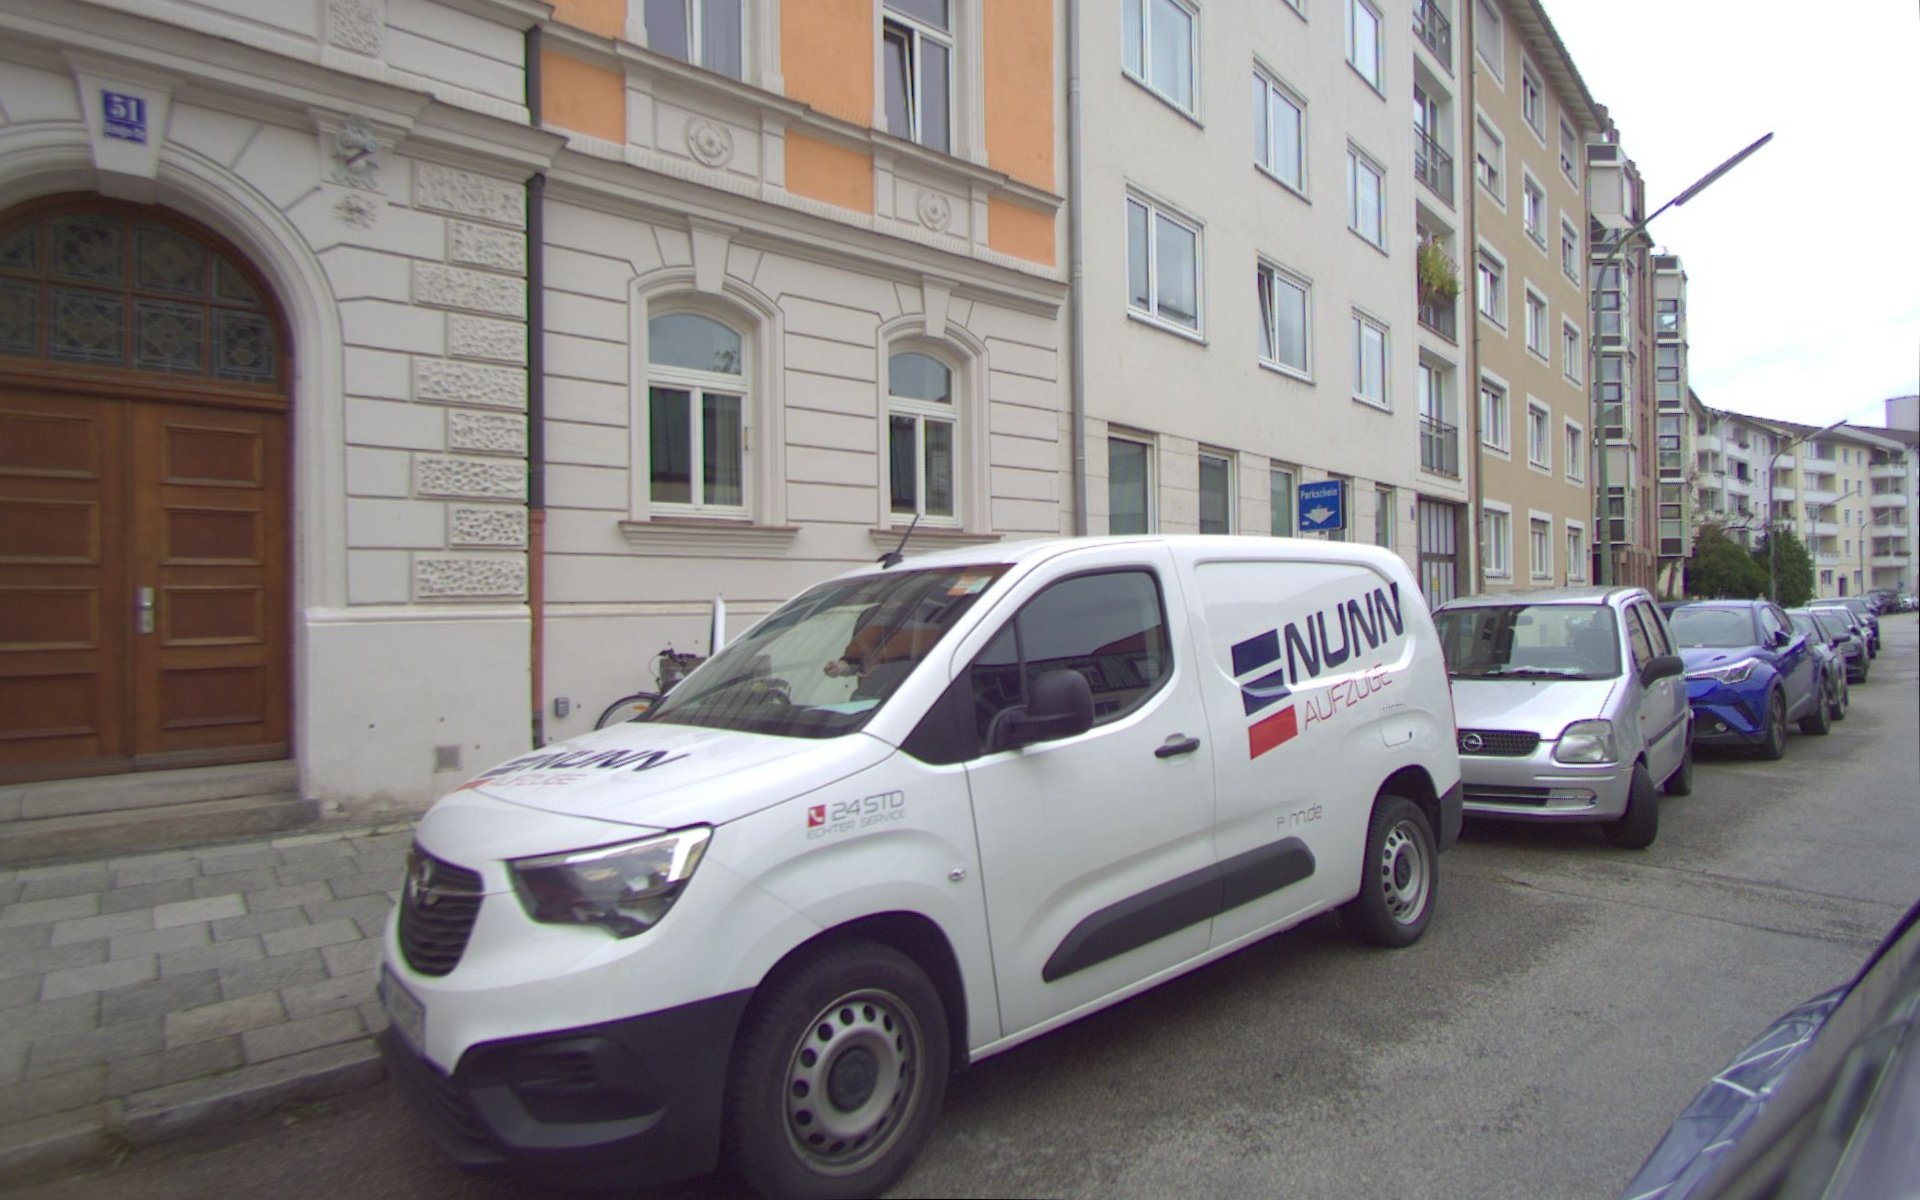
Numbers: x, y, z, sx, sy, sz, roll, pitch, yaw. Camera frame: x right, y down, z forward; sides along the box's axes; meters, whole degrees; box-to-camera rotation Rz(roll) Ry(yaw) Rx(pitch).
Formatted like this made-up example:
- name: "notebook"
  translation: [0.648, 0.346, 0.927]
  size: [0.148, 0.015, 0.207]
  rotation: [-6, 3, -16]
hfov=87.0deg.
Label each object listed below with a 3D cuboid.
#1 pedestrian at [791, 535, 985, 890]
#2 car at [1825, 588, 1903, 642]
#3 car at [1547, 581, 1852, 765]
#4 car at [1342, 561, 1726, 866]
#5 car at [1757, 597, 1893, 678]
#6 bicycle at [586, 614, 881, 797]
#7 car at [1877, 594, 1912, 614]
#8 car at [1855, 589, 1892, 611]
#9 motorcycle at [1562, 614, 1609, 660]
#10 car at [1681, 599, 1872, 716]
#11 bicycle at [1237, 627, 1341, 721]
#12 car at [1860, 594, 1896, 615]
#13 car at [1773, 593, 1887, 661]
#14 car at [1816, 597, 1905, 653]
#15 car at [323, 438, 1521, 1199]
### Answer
- name: "pedestrian"
  translation: [-0.393, 0.535, 5.349]
  size: [0.635, 1.683, 0.862]
  rotation: [0, -1, -40]
- name: "car"
  translation: [28.440, 0.447, 31.887]
  size: [1.735, 1.599, 3.776]
  rotation: [-1, 0, 41]
- name: "car"
  translation: [8.068, 0.667, 10.902]
  size: [4.128, 1.608, 1.743]
  rotation: [0, -3, -41]
- name: "car"
  translation: [4.338, 0.636, 7.405]
  size: [1.603, 1.663, 3.575]
  rotation: [-4, -2, 43]
- name: "car"
  translation: [17.578, 0.671, 20.480]
  size: [1.890, 1.414, 4.420]
  rotation: [0, 1, 43]
- name: "bicycle"
  translation: [-1.651, 0.726, 7.624]
  size: [2.057, 1.198, 0.653]
  rotation: [2, 0, -38]
- name: "car"
  translation: [70.529, 0.297, 76.365]
  size: [3.511, 1.472, 1.753]
  rotation: [0, -1, -44]
- name: "car"
  translation: [63.431, -0.002, 70.274]
  size: [1.750, 1.471, 3.518]
  rotation: [1, 1, 40]
- name: "motorcycle"
  translation: [16.227, 0.933, 26.242]
  size: [1.769, 1.140, 0.628]
  rotation: [0, -1, -45]
- name: "car"
  translation: [11.650, 0.718, 14.338]
  size: [1.740, 1.414, 4.135]
  rotation: [-3, -2, 43]
- name: "bicycle"
  translation: [4.391, 0.945, 13.455]
  size: [0.667, 1.136, 1.626]
  rotation: [-2, -1, 43]
- name: "car"
  translation: [66.549, 0.289, 73.377]
  size: [1.749, 1.472, 3.518]
  rotation: [-1, -1, 40]
- name: "car"
  translation: [21.201, 0.582, 24.598]
  size: [1.890, 1.481, 4.420]
  rotation: [1, 1, 43]
- name: "car"
  translation: [25.023, 0.639, 28.184]
  size: [1.736, 1.356, 4.103]
  rotation: [2, 2, 41]
- name: "car"
  translation: [0.317, 0.621, 4.191]
  size: [4.808, 1.809, 1.843]
  rotation: [0, -3, -40]
